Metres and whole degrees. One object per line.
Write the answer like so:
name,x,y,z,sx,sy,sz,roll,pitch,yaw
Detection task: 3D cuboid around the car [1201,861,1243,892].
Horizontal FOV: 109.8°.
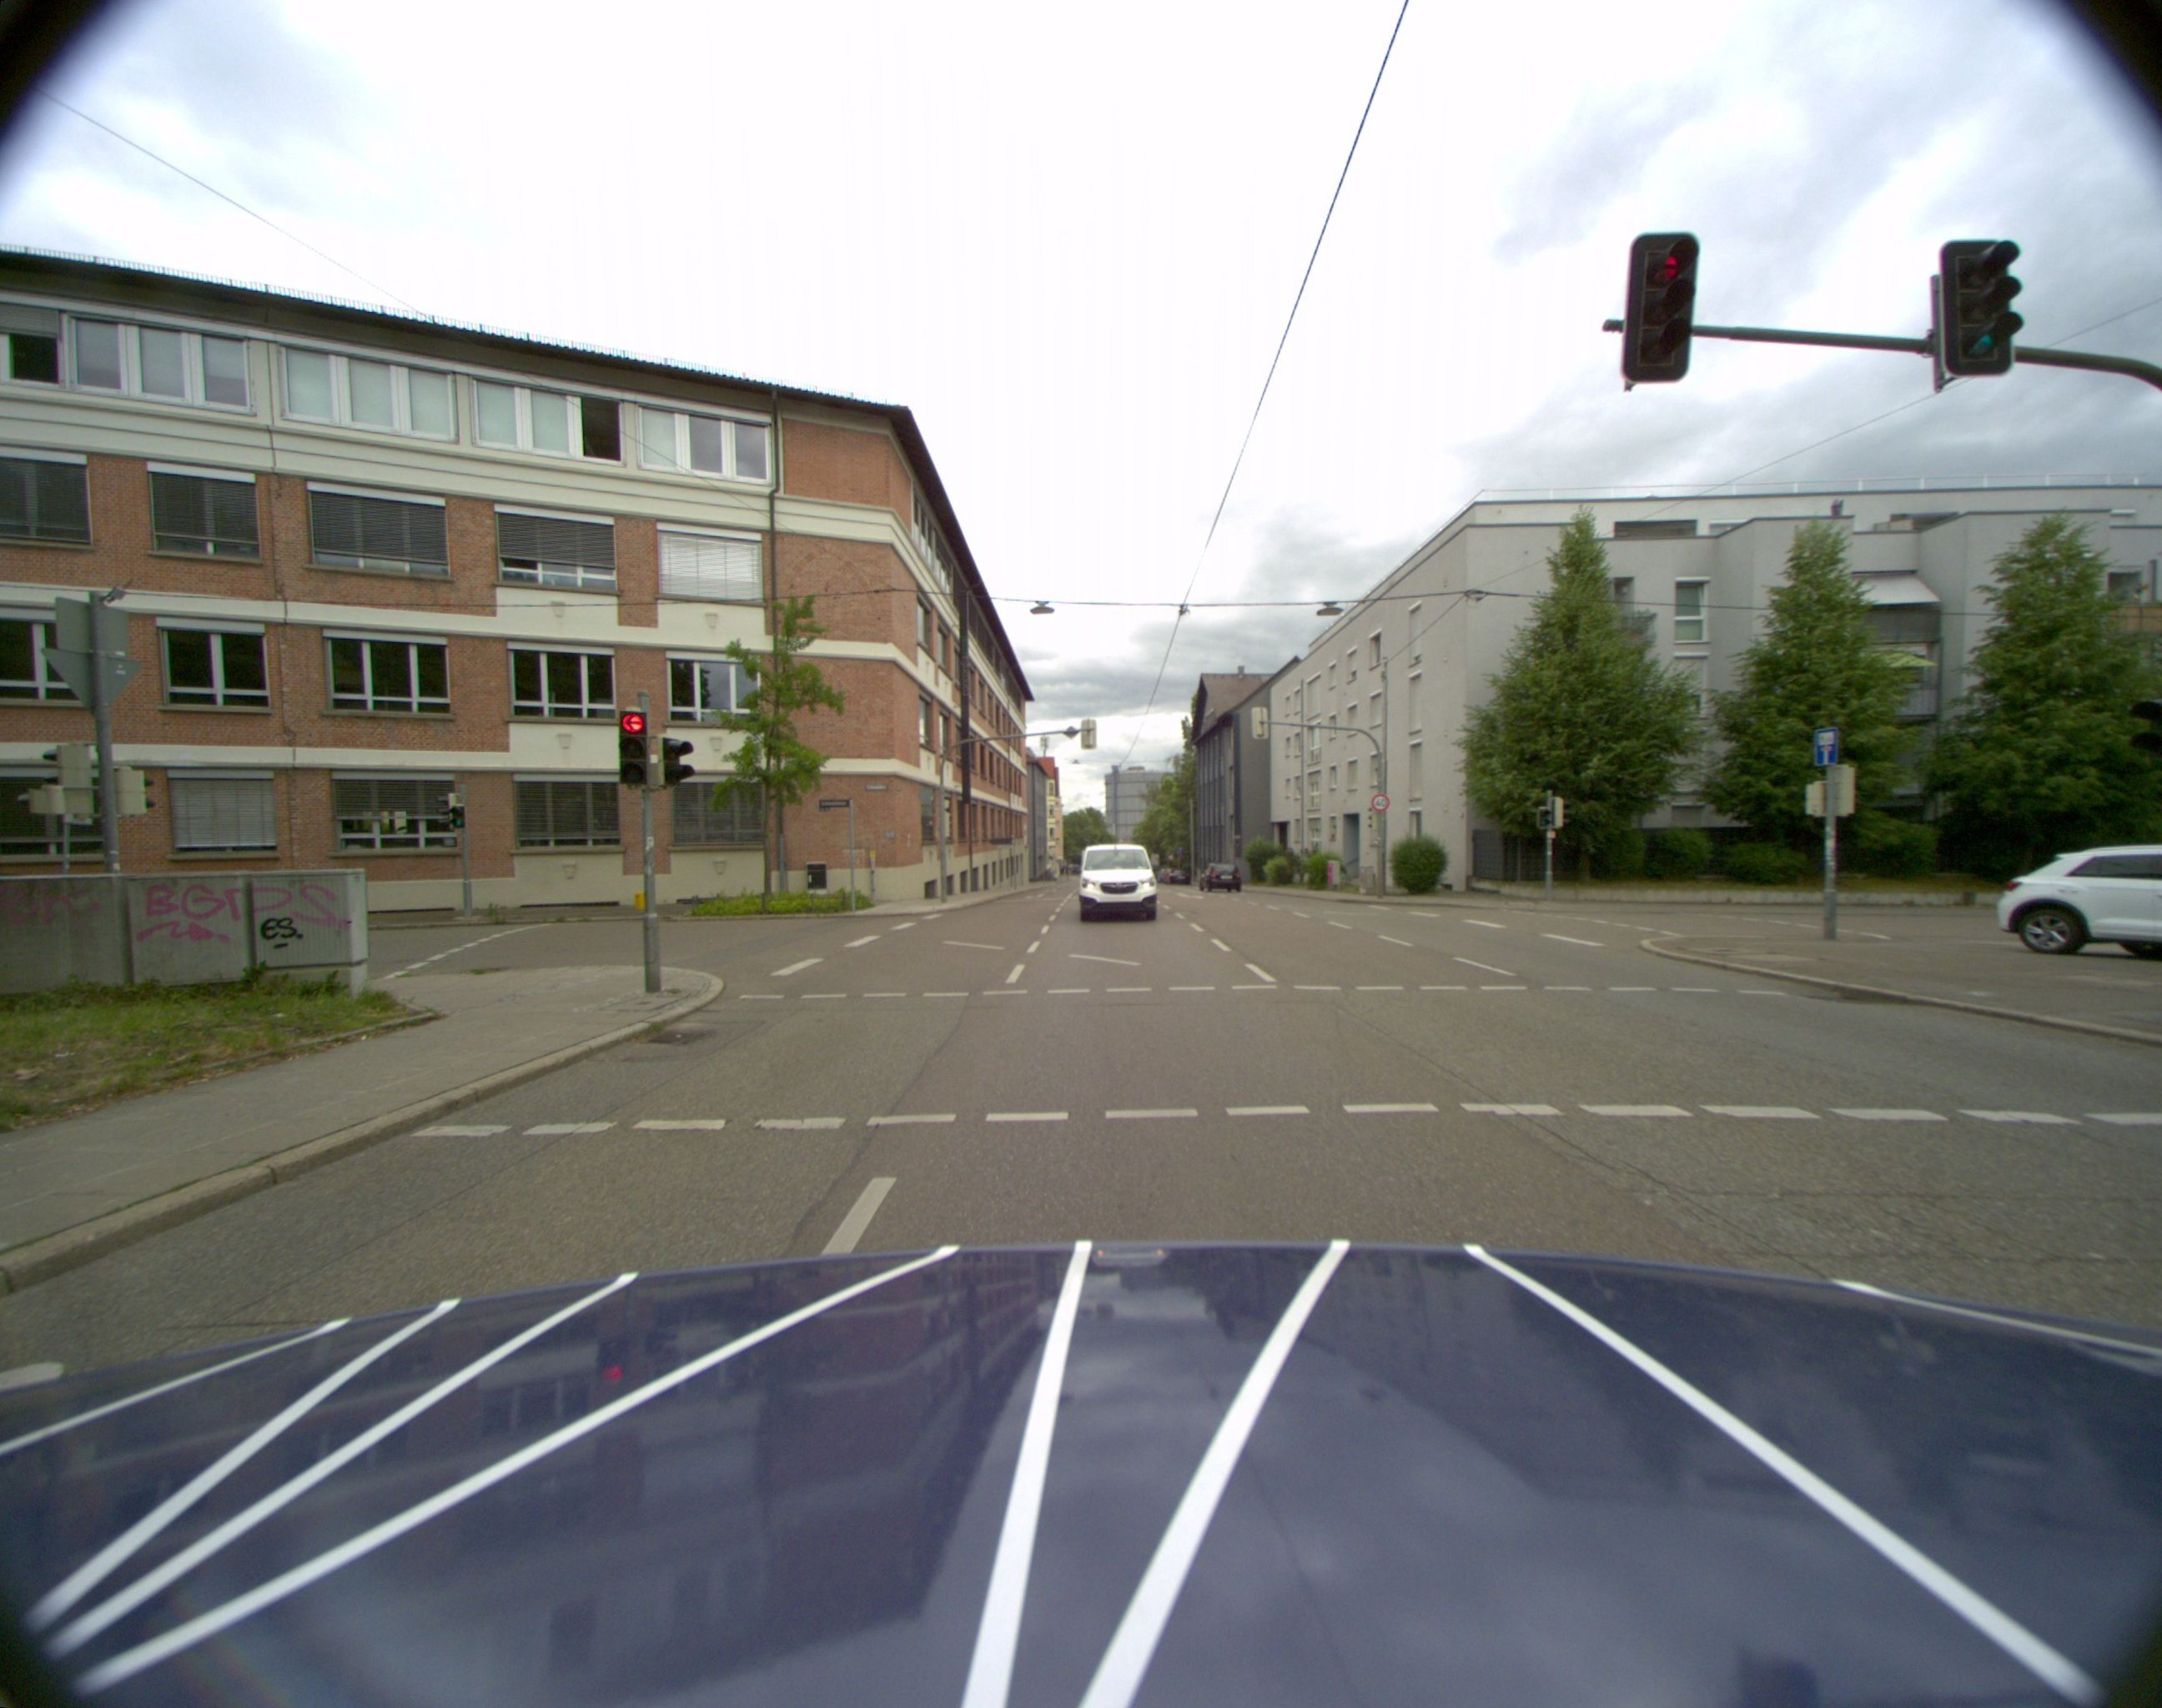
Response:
car,7.141,1.107,38.773,1.591,1.455,3.616,0,0,1

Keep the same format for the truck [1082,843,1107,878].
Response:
truck,1.444,0.696,81.759,2.545,3.478,8.521,0,0,1

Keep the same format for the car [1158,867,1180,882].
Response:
car,8.780,2.017,76.177,1.799,1.401,4.000,0,0,1

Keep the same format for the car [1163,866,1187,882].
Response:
car,8.700,1.795,70.721,1.799,1.401,4.000,0,0,1

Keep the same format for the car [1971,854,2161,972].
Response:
car,14.876,0.774,9.748,1.819,1.527,4.260,1,-1,-3

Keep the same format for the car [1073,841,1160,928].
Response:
car,0.821,0.709,18.653,1.850,1.831,4.285,-2,-1,1

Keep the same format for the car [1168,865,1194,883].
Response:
car,8.468,1.694,64.701,1.799,1.401,4.000,0,0,1

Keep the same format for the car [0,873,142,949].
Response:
car,-21.762,1.119,14.551,4.425,1.396,1.771,0,-3,-21
